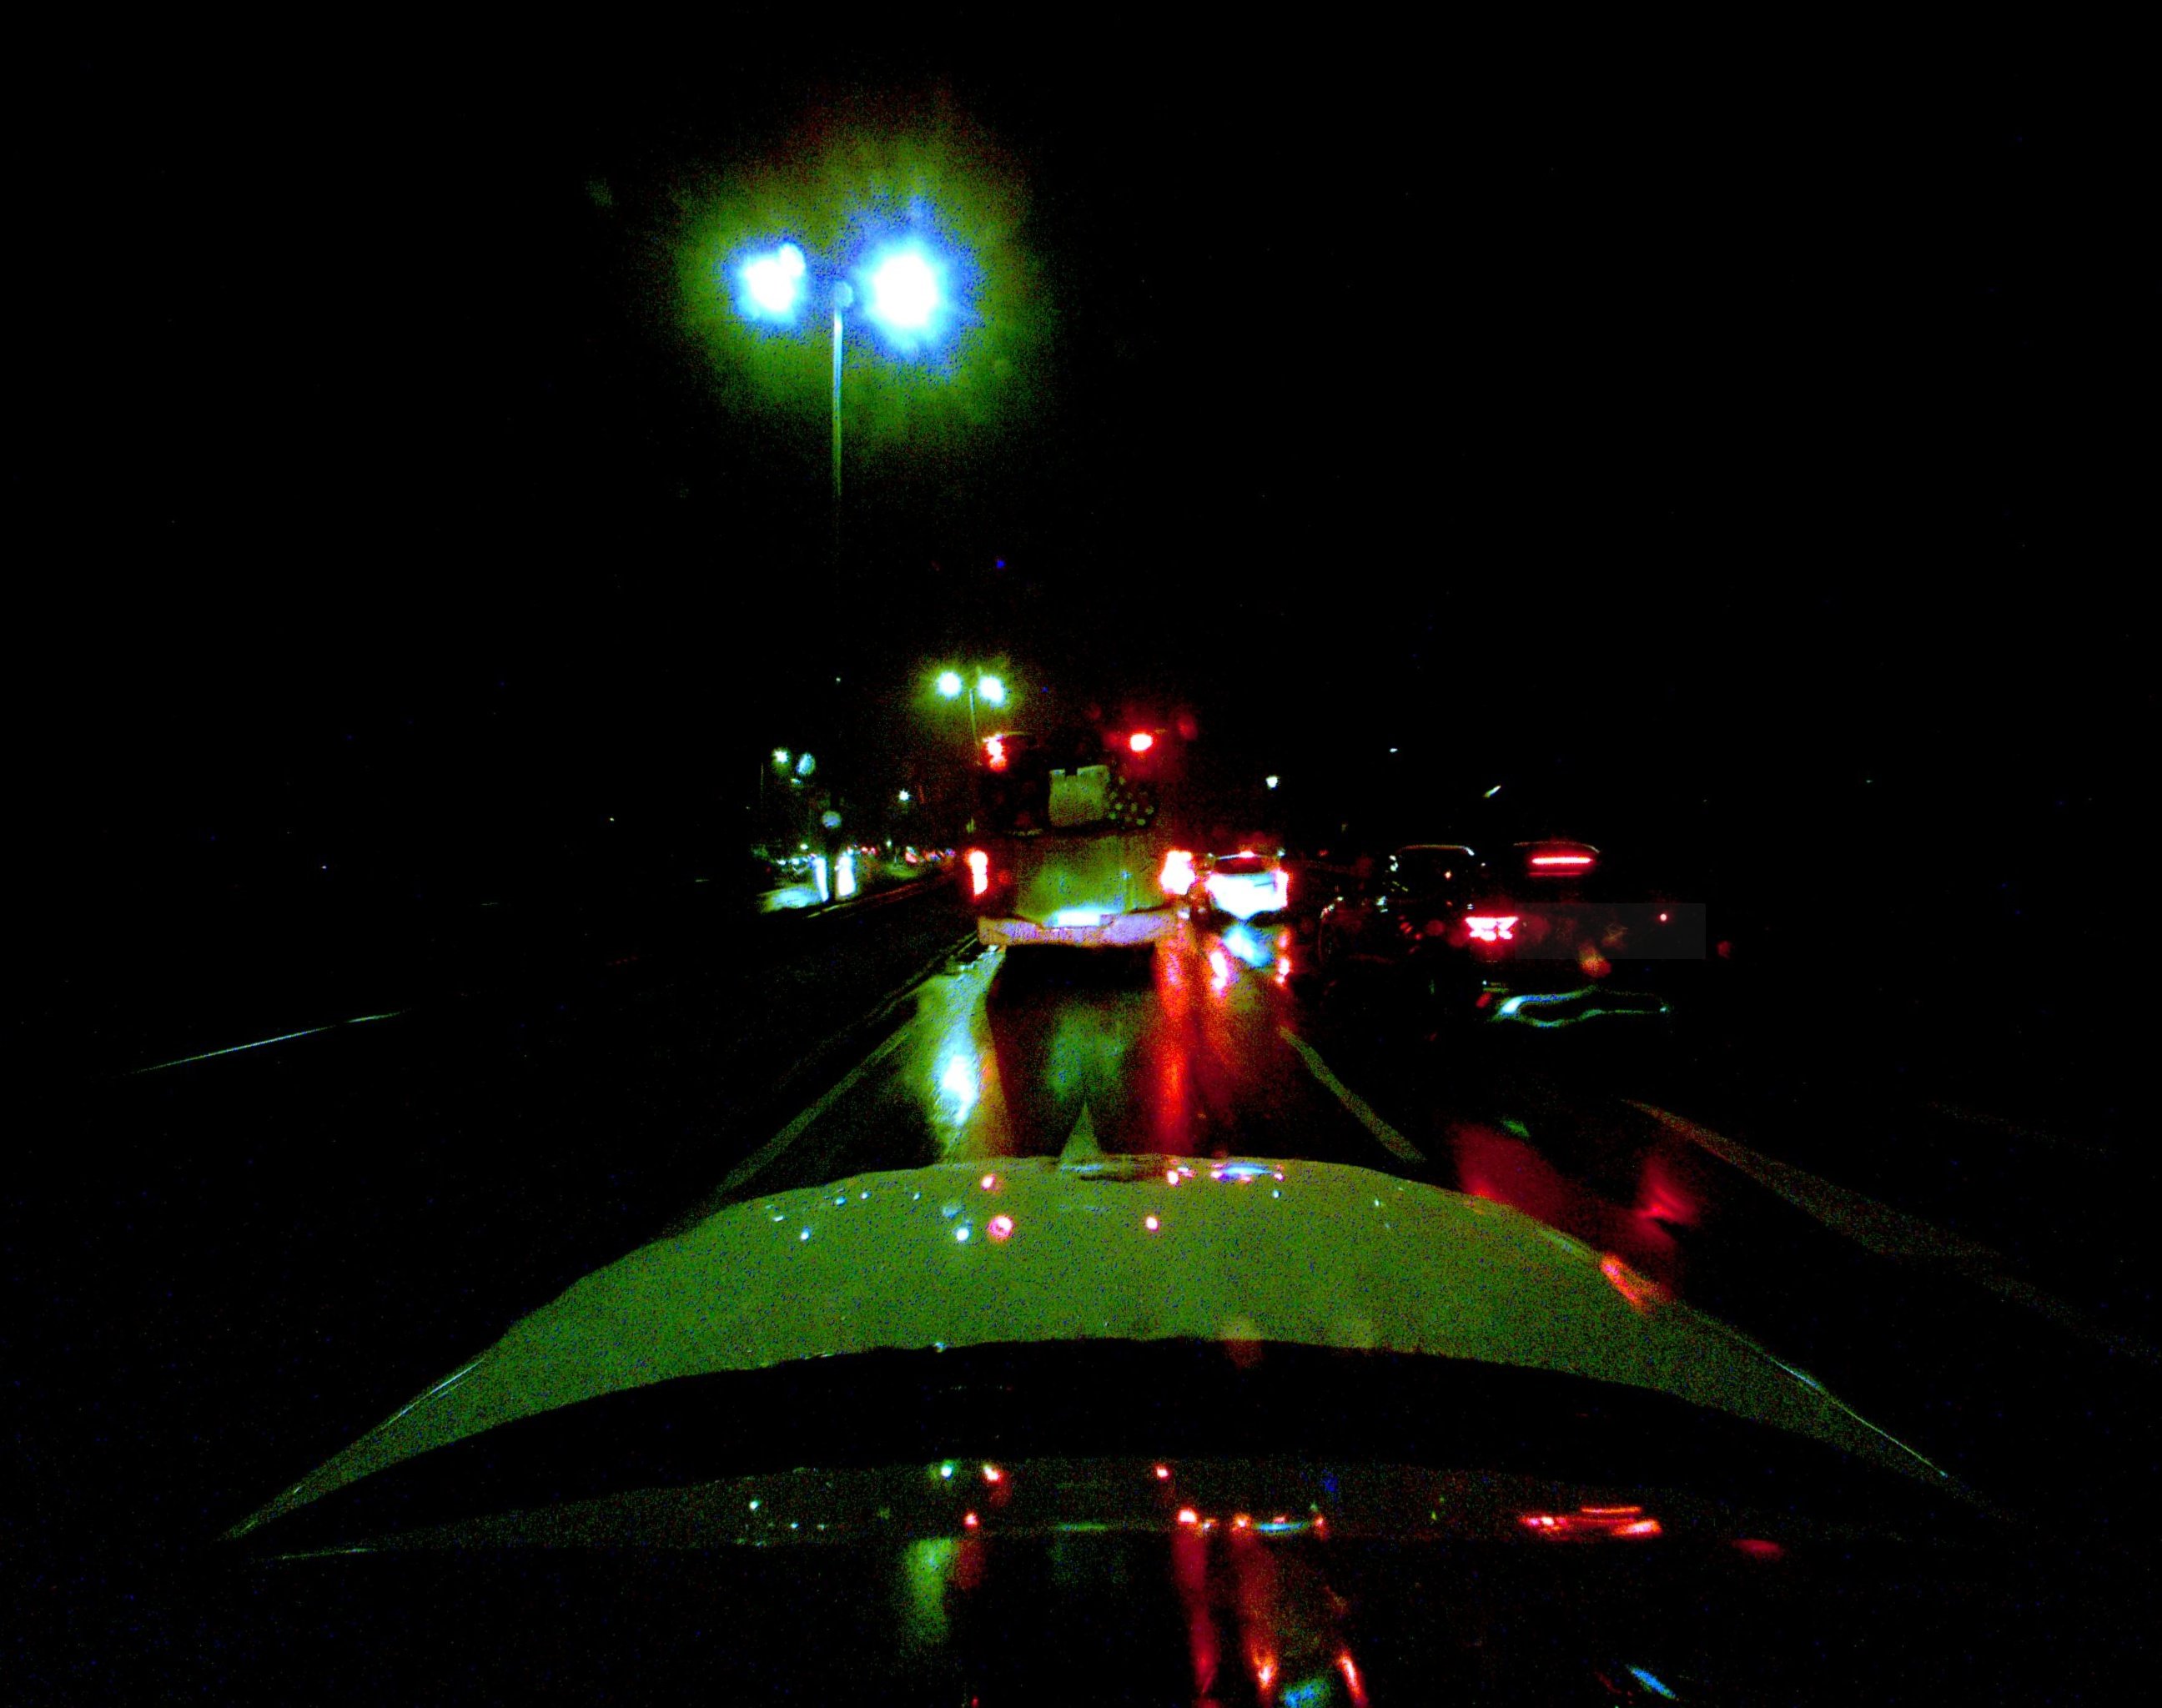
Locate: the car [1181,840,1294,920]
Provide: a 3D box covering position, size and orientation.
[{"bbox_3d":[3.441,0.531,18.614,1.814,1.590,3.776,-1,0,0],"label":"car"}]

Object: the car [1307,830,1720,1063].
[{"bbox_3d":[3.441,0.625,7.366,1.734,1.565,3.776,0,0,0],"label":"car"}]

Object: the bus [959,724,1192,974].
[{"bbox_3d":[0.023,-0.057,14.186,2.805,3.024,8.689,0,0,1],"label":"bus"}]

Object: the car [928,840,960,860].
[{"bbox_3d":[-14.223,-0.372,84.351,2.006,2.014,3.961,1,-1,-30],"label":"car"}]

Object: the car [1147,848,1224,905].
[{"bbox_3d":[3.095,0.634,24.815,1.814,1.590,3.776,-1,0,0],"label":"car"}]

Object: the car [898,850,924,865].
[{"bbox_3d":[-19.155,0.438,91.512,1.762,1.631,3.587,1,-1,-31],"label":"car"}]

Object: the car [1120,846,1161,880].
[{"bbox_3d":[2.810,0.431,39.278,1.773,1.543,3.875,0,0,1],"label":"car"}]

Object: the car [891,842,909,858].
[{"bbox_3d":[-23.978,-0.520,107.942,2.122,2.014,3.986,1,-1,-10],"label":"car"}]

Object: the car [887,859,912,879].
[{"bbox_3d":[-18.485,1.513,82.924,2.000,2.014,3.974,-1,0,-19],"label":"car"}]

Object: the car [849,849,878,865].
[{"bbox_3d":[-27.815,0.427,104.220,2.229,2.013,3.954,-1,0,-38],"label":"car"}]

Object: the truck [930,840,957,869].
[{"bbox_3d":[-12.768,-0.007,75.381,1.860,2.392,4.752,-2,3,-17],"label":"truck"}]

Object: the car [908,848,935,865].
[{"bbox_3d":[-19.212,0.301,97.920,2.006,2.013,3.963,-1,0,-29],"label":"car"}]

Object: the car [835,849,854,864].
[{"bbox_3d":[-32.672,0.328,112.552,1.830,2.013,3.965,-2,0,-26],"label":"car"}]
